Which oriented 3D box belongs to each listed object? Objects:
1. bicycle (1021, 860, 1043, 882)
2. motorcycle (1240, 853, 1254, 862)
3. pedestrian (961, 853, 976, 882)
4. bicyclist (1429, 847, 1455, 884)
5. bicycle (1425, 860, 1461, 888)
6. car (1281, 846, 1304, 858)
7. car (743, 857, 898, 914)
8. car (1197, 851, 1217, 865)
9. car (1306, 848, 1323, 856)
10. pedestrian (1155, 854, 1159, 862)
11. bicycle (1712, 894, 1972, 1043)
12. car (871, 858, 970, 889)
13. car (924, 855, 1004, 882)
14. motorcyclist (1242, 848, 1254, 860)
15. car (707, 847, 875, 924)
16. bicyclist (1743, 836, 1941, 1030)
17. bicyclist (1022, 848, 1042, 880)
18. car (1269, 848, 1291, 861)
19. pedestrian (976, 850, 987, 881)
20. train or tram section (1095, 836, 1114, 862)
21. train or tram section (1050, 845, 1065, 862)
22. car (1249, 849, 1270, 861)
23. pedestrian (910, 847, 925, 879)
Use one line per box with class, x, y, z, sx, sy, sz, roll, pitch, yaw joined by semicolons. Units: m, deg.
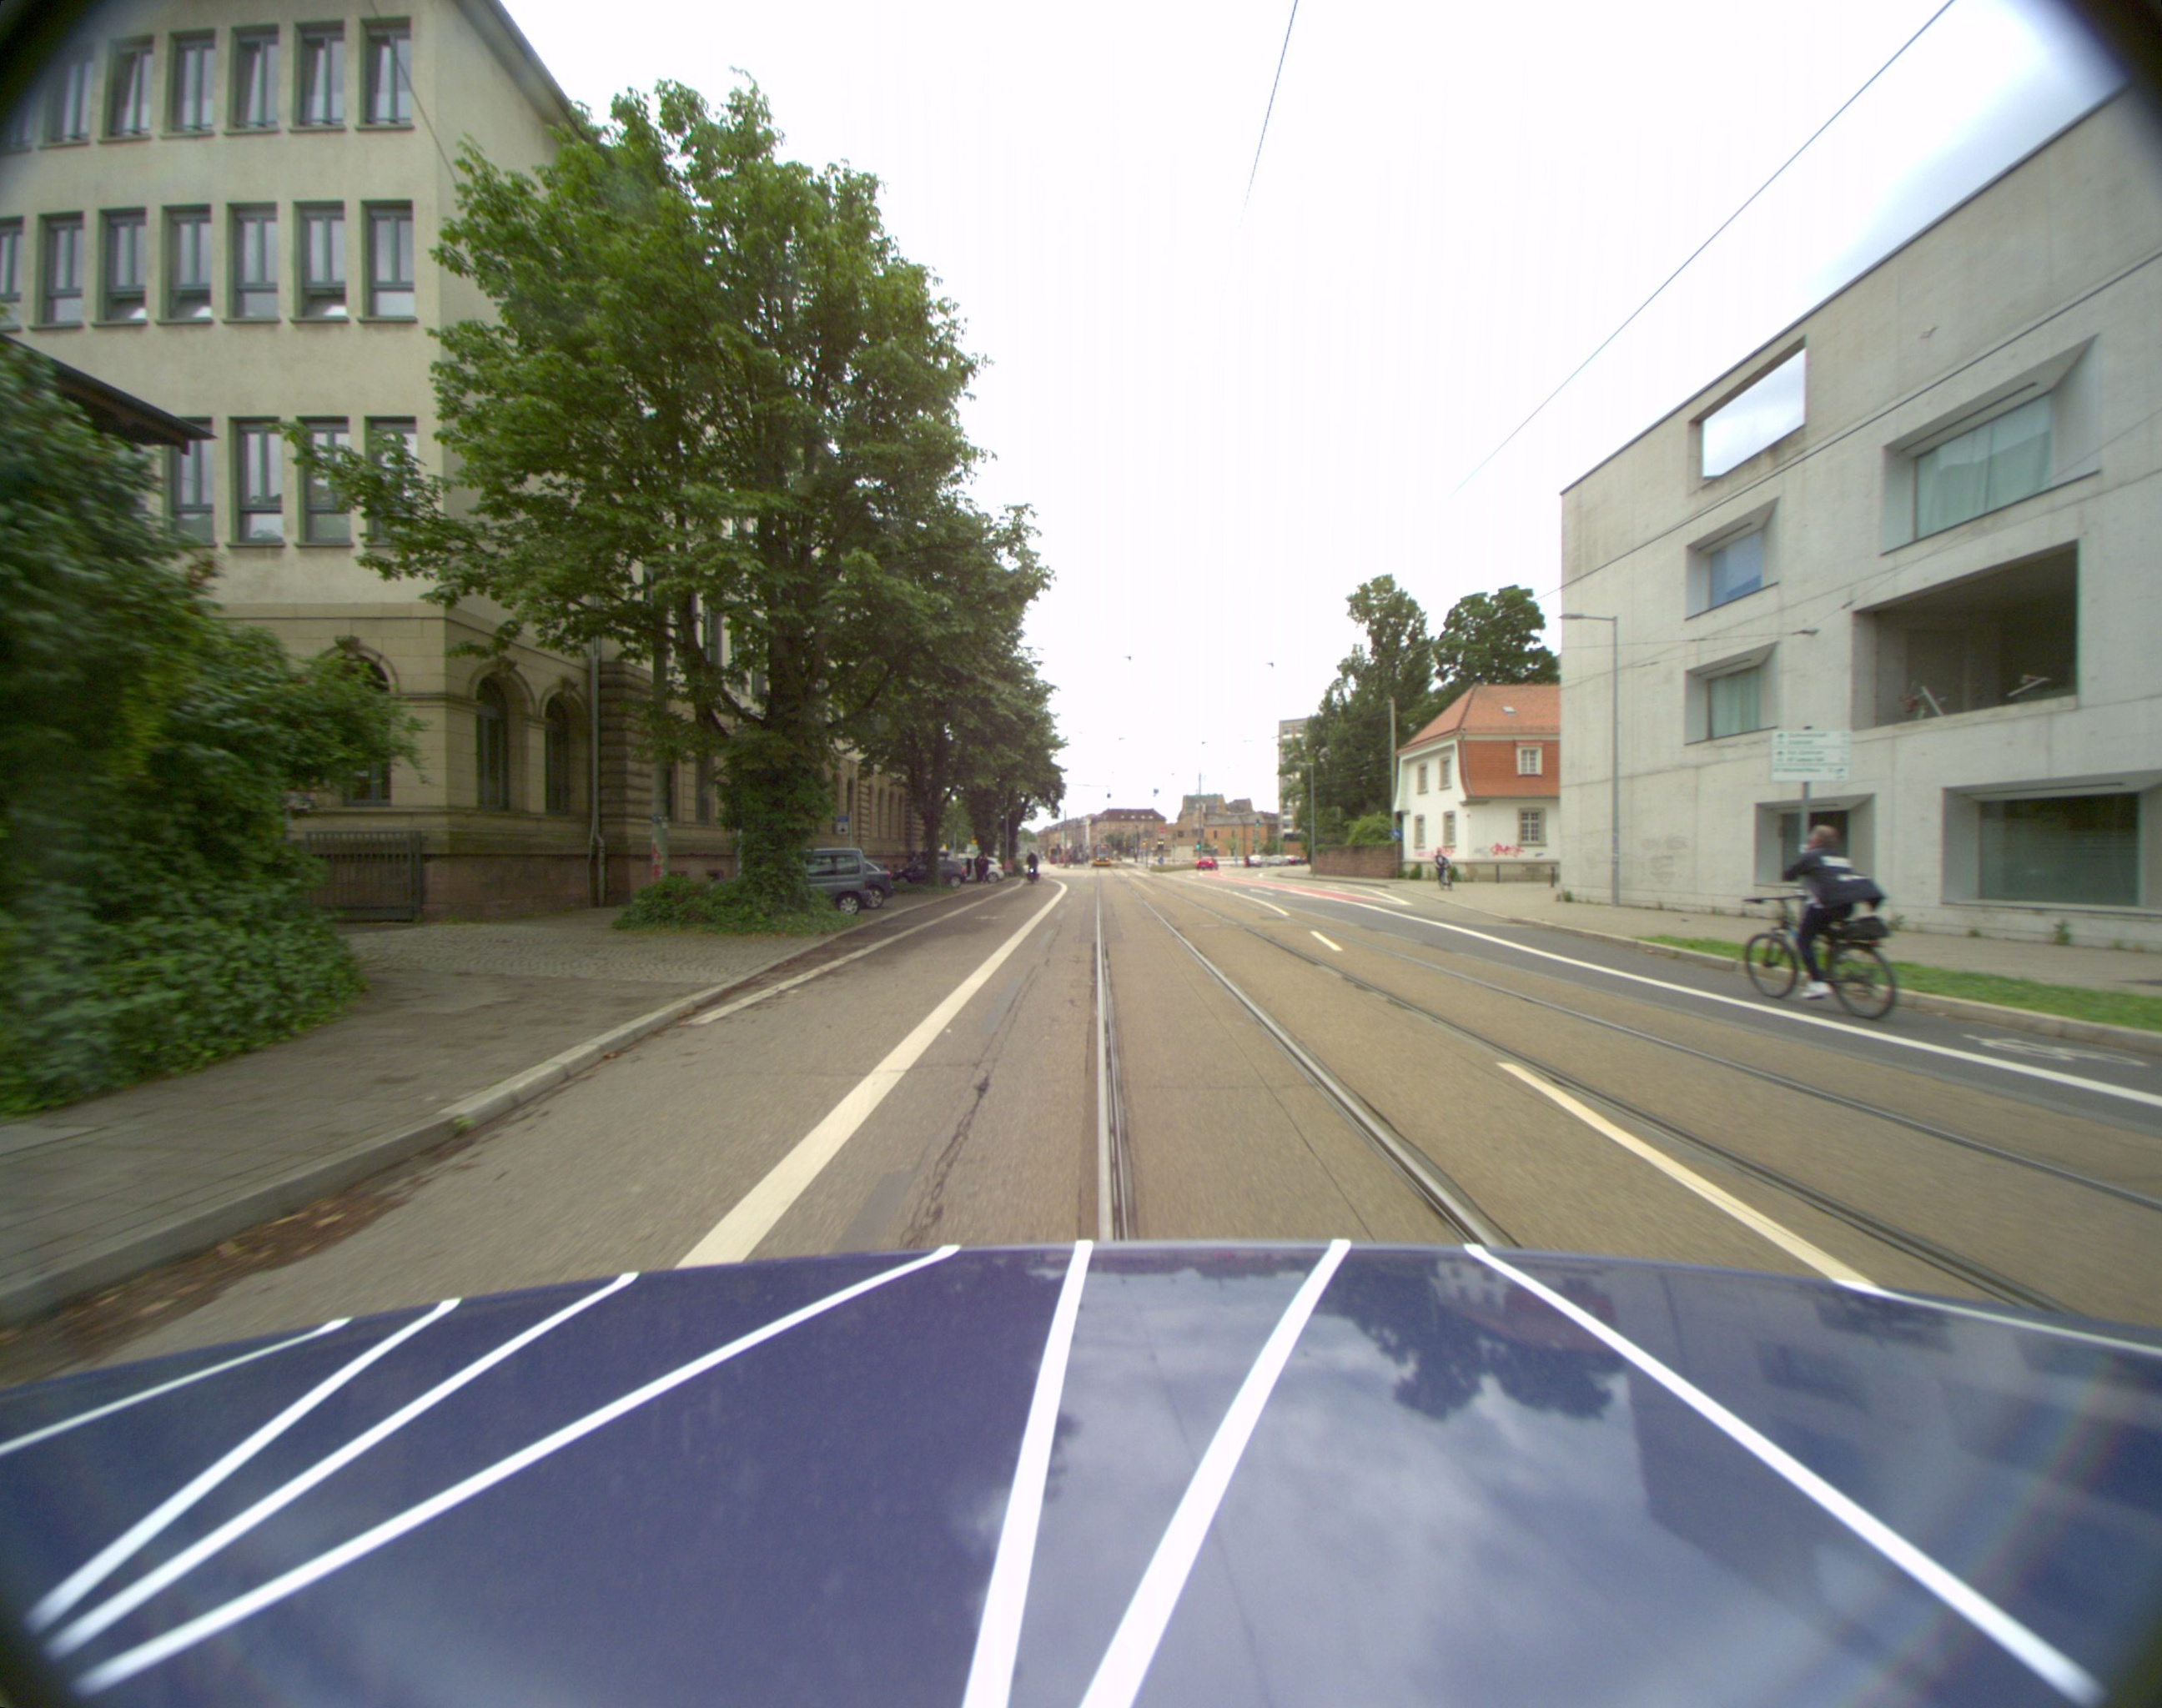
bicycle;-2.769;0.962;43.344;0.852;1.234;2.311;-1;-1;6
motorcycle;20.572;0.382;94.129;1.053;1.063;2.653;0;0;28
pedestrian;-6.318;0.757;42.658;0.645;1.616;0.591;-1;1;-22
bicyclist;16.378;0.526;34.510;0.776;1.681;0.869;0;1;2
bicycle;16.381;0.900;34.456;0.776;1.205;1.869;0;0;2
car;30.285;-0.299;108.841;1.781;1.601;4.333;0;1;36
car;-7.721;0.873;22.604;4.007;1.530;1.860;0;0;-34
car;13.970;0.379;84.108;1.758;1.490;4.004;1;1;15
car;34.869;-0.278;113.305;1.420;1.164;3.077;0;1;38
pedestrian;10.058;0.480;100.853;0.544;1.050;0.638;0;1;9
bicycle;7.659;1.079;7.830;0.793;1.179;2.012;3;1;8
car;-7.676;0.882;36.475;4.338;1.394;1.750;0;0;-32
car;-6.851;0.829;44.353;4.330;1.542;1.747;0;0;-21
motorcyclist;20.785;-0.047;94.597;1.074;1.477;1.254;0;1;28
car;-7.505;0.761;19.703;3.846;1.810;1.802;0;0;-30
bicyclist;7.654;0.742;7.725;0.793;1.773;1.148;4;1;9
bicyclist;-2.763;0.577;43.354;0.881;1.811;1.479;-1;-1;6
car;27.294;0.042;104.199;1.682;1.641;3.988;0;1;36
pedestrian;-5.599;0.656;42.829;0.614;1.740;0.686;-1;1;-7
train or tram section;3.472;-0.759;113.322;2.631;3.659;5.984;0;1;-1
train or tram section;-4.183;-0.119;136.923;2.609;2.936;4.965;0;1;-1
car;23.053;0.172;97.856;1.490;1.500;3.476;0;1;34
pedestrian;-9.735;0.527;45.160;0.680;1.828;0.751;2;1;1
